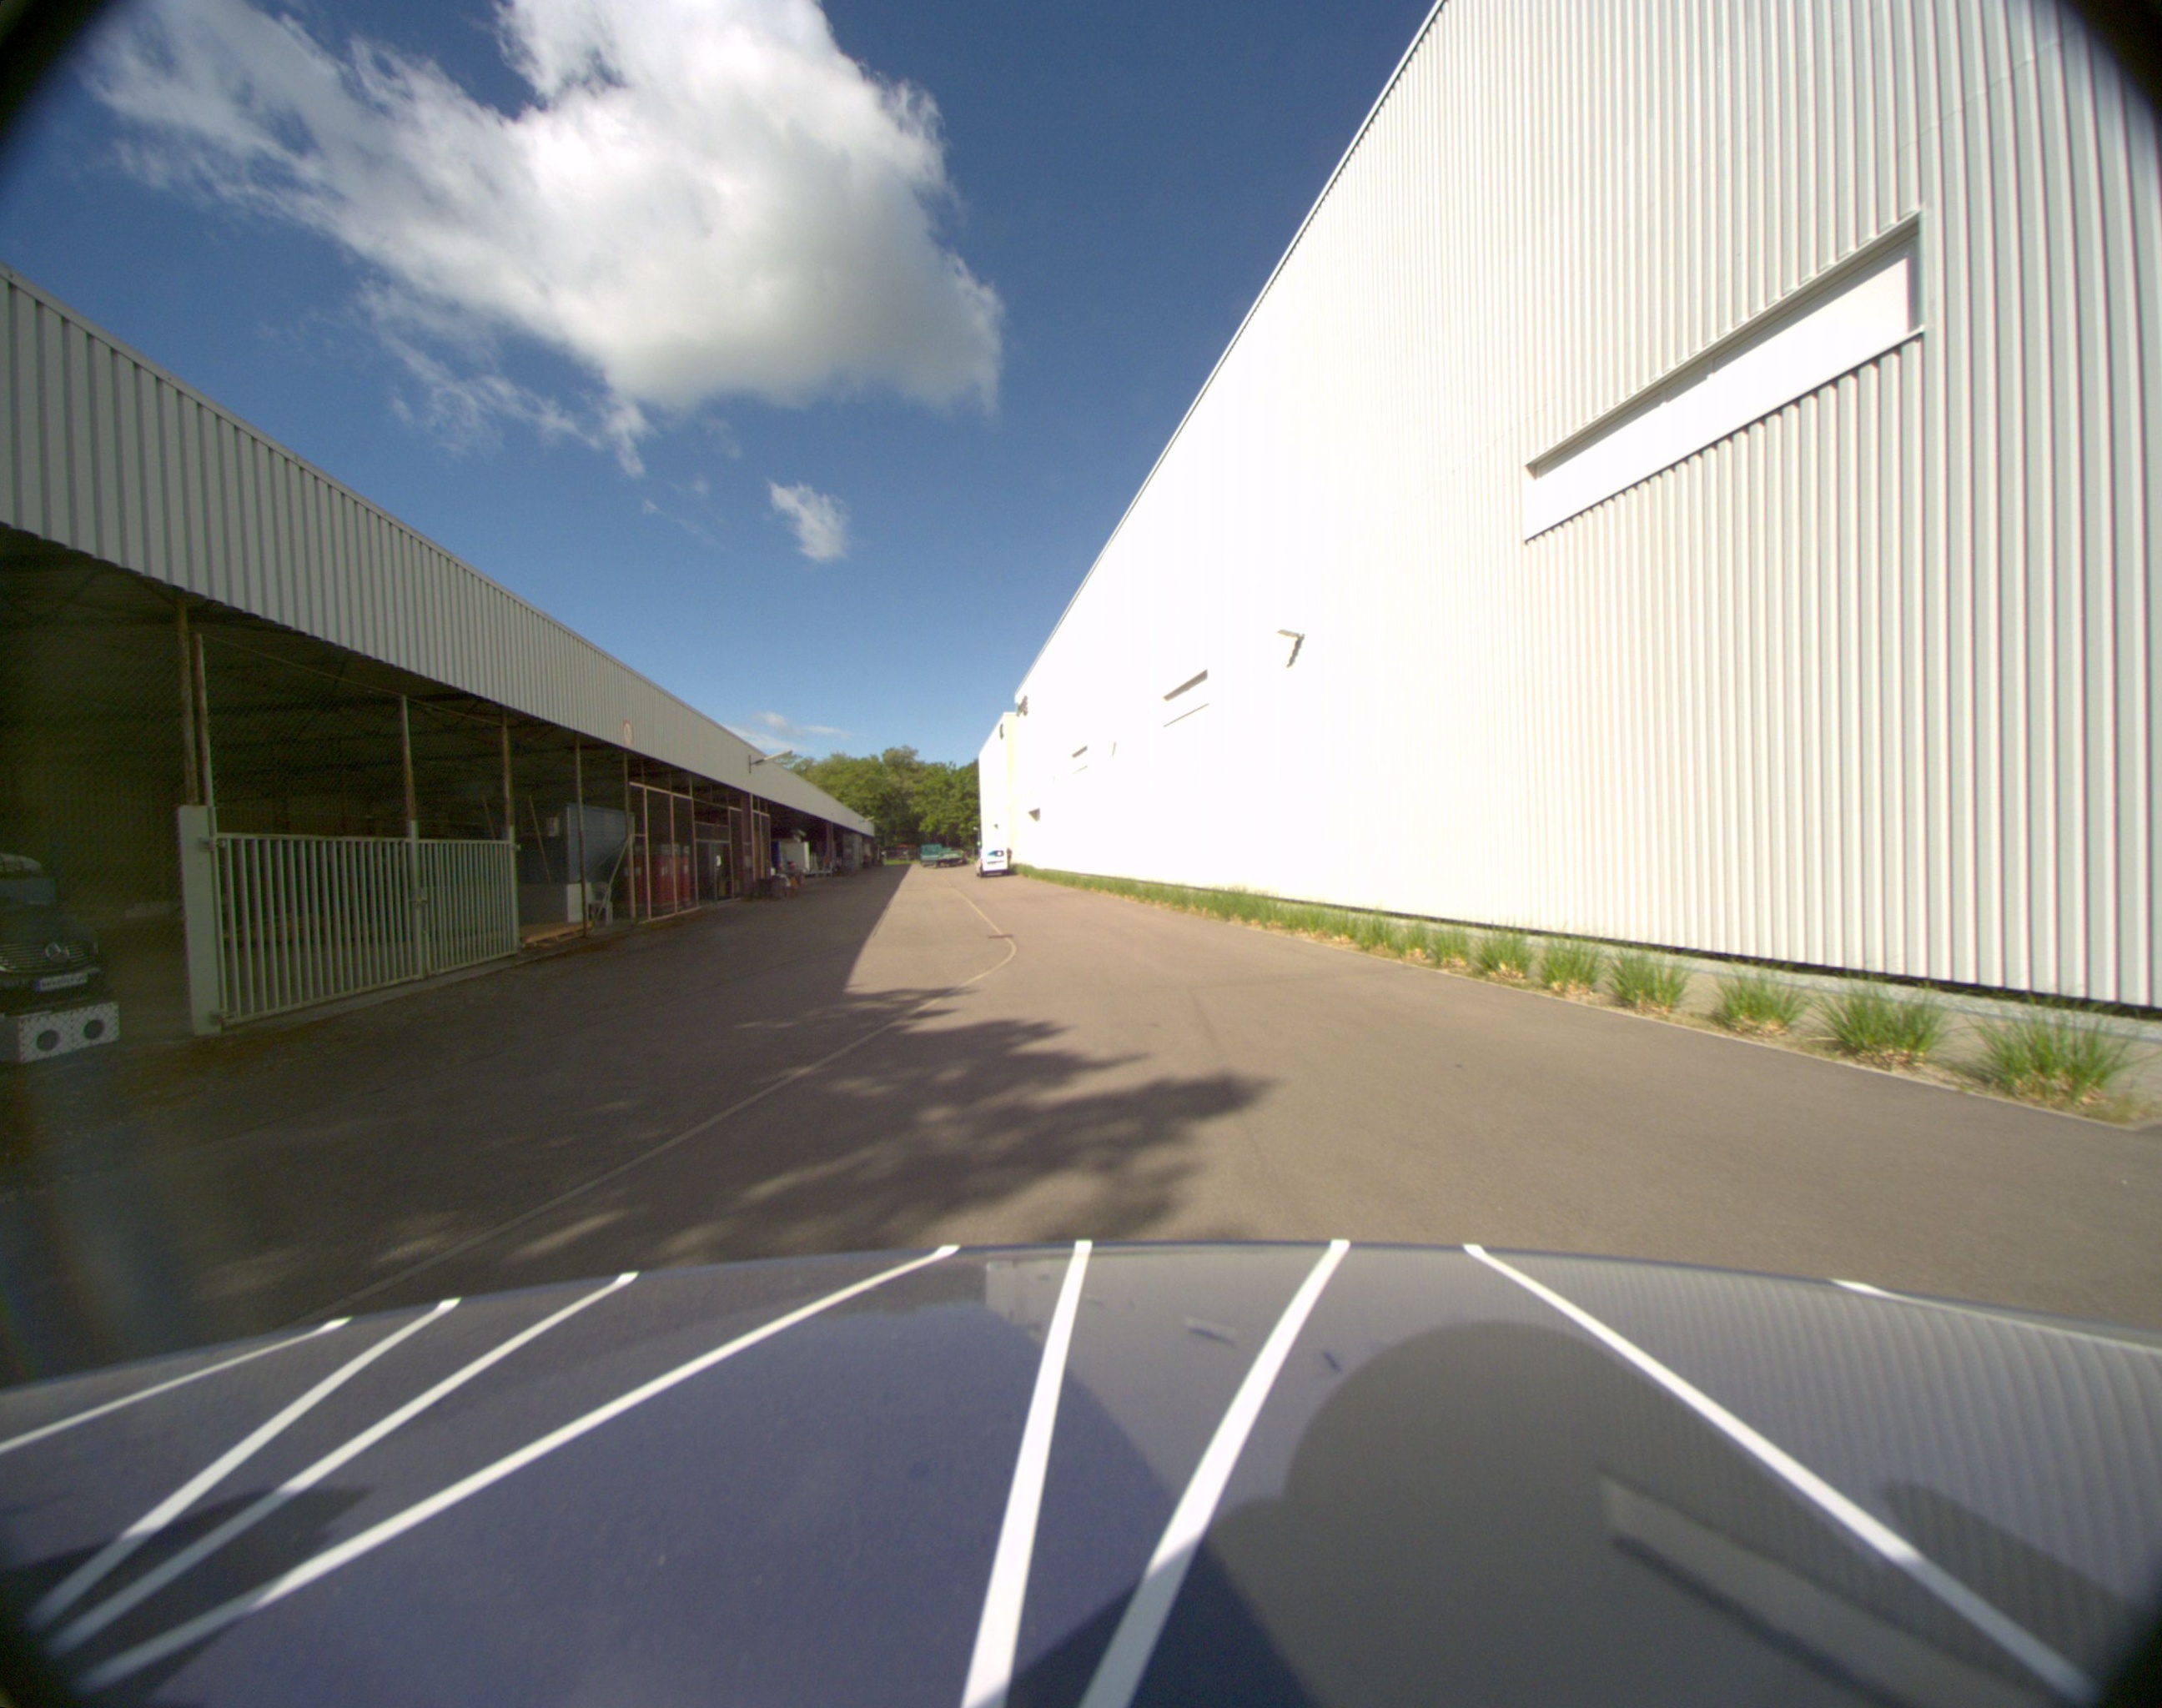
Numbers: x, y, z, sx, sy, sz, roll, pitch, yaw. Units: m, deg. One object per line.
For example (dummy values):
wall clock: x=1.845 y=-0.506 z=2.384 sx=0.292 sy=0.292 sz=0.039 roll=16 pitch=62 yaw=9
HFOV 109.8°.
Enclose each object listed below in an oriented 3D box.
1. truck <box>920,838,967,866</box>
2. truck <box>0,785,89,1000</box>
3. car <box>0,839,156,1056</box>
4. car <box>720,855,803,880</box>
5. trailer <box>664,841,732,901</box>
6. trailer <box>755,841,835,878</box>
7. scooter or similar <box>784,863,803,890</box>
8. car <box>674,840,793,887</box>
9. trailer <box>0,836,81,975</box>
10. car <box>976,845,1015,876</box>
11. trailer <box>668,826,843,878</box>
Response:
truck: x=-15.366 y=-0.183 z=84.372 sx=2.592 sy=2.701 sz=9.676 roll=-5 pitch=2 yaw=-24
truck: x=-16.210 y=0.542 z=8.709 sx=5.586 sy=2.690 sz=2.363 roll=-1 pitch=1 yaw=-12
car: x=-12.132 y=0.903 z=6.294 sx=5.185 sy=1.907 sz=2.275 roll=-2 pitch=2 yaw=-17
car: x=-19.204 y=0.779 z=45.852 sx=4.360 sy=1.425 sz=1.862 roll=0 pitch=1 yaw=-15
trailer: x=-14.596 y=0.575 z=29.114 sx=1.583 sy=2.131 sz=3.516 roll=-1 pitch=1 yaw=-15
trailer: x=-18.275 y=0.321 z=48.696 sx=4.558 sy=2.321 sz=1.686 roll=0 pitch=1 yaw=-11
scooter or similar: x=-13.179 y=1.016 z=34.849 sx=0.522 sy=1.128 sz=1.590 roll=-1 pitch=2 yaw=-12
car: x=-18.040 y=0.461 z=39.704 sx=5.235 sy=2.284 sz=2.081 roll=-1 pitch=1 yaw=-13
trailer: x=-18.213 y=0.829 z=11.165 sx=3.416 sy=2.126 sz=2.461 roll=-1 pitch=1 yaw=-10
car: x=-5.432 y=0.378 z=47.692 sx=1.935 sy=1.780 sz=4.592 roll=-3 pitch=1 yaw=-12
trailer: x=-21.391 y=-0.171 z=50.599 sx=10.329 sy=3.276 sz=2.672 roll=0 pitch=1 yaw=-11
